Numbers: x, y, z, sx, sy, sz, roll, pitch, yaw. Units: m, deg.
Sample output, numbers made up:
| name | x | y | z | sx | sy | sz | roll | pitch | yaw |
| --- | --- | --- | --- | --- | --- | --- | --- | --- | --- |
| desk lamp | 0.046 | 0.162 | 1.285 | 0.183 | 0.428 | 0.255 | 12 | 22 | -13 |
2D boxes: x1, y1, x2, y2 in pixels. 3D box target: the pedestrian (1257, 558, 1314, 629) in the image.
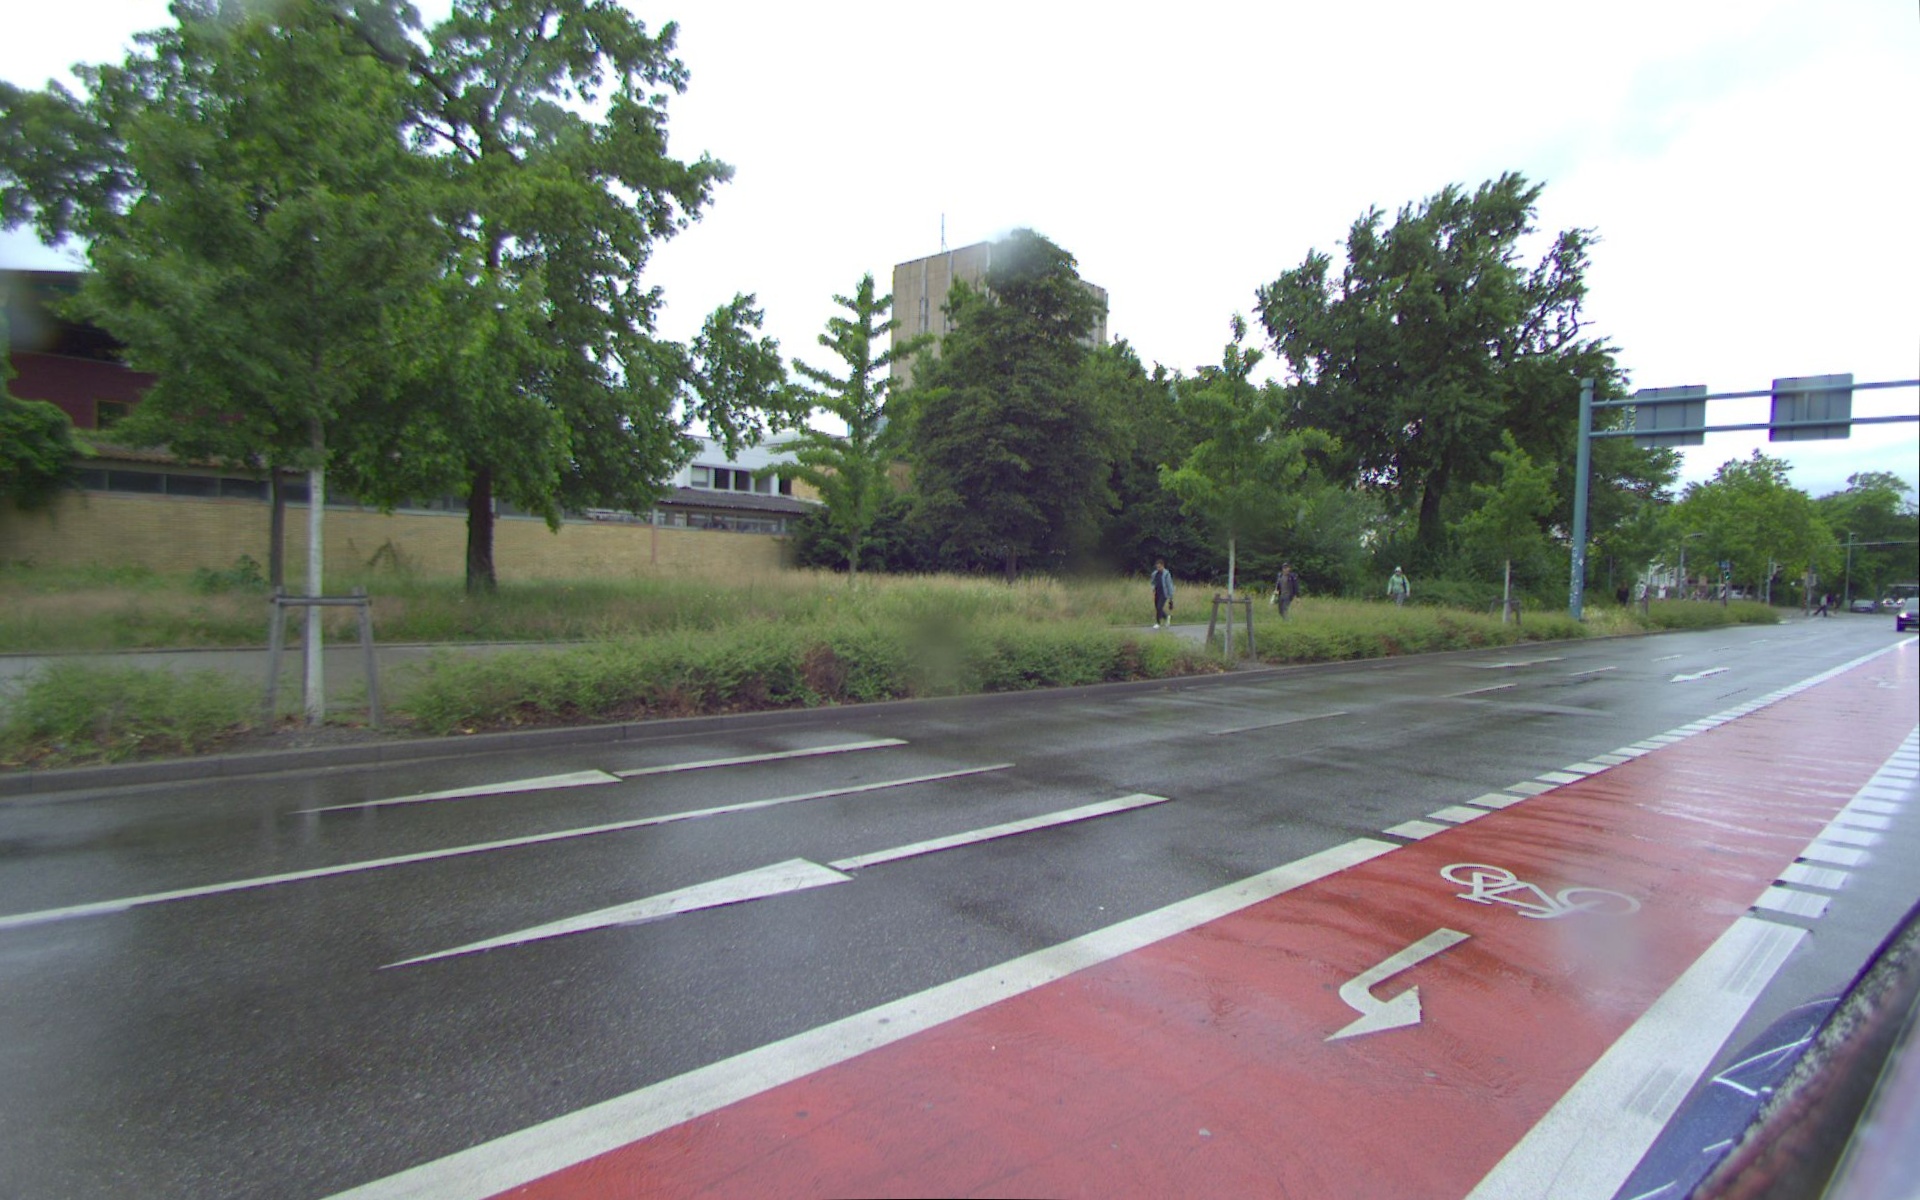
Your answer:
| name | x | y | z | sx | sy | sz | roll | pitch | yaw |
| --- | --- | --- | --- | --- | --- | --- | --- | --- | --- |
| pedestrian | 8.444 | -0.177 | 26.259 | 1.026 | 1.769 | 0.936 | 1 | 2 | -38 |

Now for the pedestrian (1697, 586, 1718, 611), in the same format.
| name | x | y | z | sx | sy | sz | roll | pitch | yaw |
| --- | --- | --- | --- | --- | --- | --- | --- | --- | --- |
| pedestrian | 50.247 | -0.128 | 68.015 | 0.868 | 1.627 | 0.857 | 3 | 2 | 24 |

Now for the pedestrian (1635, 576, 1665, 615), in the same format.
| name | x | y | z | sx | sy | sz | roll | pitch | yaw |
| --- | --- | --- | --- | --- | --- | --- | --- | --- | --- |
| pedestrian | 32.191 | -0.215 | 47.216 | 0.814 | 1.743 | 0.935 | 4 | -2 | -39 |

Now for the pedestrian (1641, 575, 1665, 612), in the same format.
| name | x | y | z | sx | sy | sz | roll | pitch | yaw |
| --- | --- | --- | --- | --- | --- | --- | --- | --- | --- |
| pedestrian | 36.233 | -0.327 | 52.927 | 0.835 | 1.882 | 0.732 | 1 | 2 | -38 |

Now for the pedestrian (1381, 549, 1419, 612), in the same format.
| name | x | y | z | sx | sy | sz | roll | pitch | yaw |
| --- | --- | --- | --- | --- | --- | --- | --- | --- | --- |
| pedestrian | 14.604 | -0.654 | 33.569 | 0.813 | 2.038 | 0.793 | 1 | 2 | -38 |

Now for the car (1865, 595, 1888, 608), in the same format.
| name | x | y | z | sx | sy | sz | roll | pitch | yaw |
| --- | --- | --- | --- | --- | --- | --- | --- | --- | --- |
| car | 96.333 | 0.143 | 106.331 | 1.657 | 1.282 | 4.042 | 4 | 3 | 44 |

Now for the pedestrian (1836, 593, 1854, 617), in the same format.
| name | x | y | z | sx | sy | sz | roll | pitch | yaw |
| --- | --- | --- | --- | --- | --- | --- | --- | --- | --- |
| pedestrian | 70.040 | 0.370 | 80.093 | 0.614 | 1.847 | 0.785 | 2 | 1 | 8 |

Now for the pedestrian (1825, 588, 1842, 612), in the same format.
| name | x | y | z | sx | sy | sz | roll | pitch | yaw |
| --- | --- | --- | --- | --- | --- | --- | --- | --- | --- |
| pedestrian | 68.907 | -0.035 | 79.852 | 0.614 | 1.847 | 0.786 | 2 | 1 | 5 |

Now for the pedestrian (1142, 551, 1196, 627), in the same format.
| name | x | y | z | sx | sy | sz | roll | pitch | yaw |
| --- | --- | --- | --- | --- | --- | --- | --- | --- | --- |
| pedestrian | 5.140 | -0.277 | 24.921 | 0.813 | 1.819 | 0.936 | 1 | 2 | -37 |

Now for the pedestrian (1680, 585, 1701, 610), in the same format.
| name | x | y | z | sx | sy | sz | roll | pitch | yaw |
| --- | --- | --- | --- | --- | --- | --- | --- | --- | --- |
| pedestrian | 49.412 | -0.153 | 68.455 | 0.867 | 1.627 | 0.857 | 3 | 2 | 23 |

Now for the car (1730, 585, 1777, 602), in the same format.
| name | x | y | z | sx | sy | sz | roll | pitch | yaw |
| --- | --- | --- | --- | --- | --- | --- | --- | --- | --- |
| car | 97.500 | -0.826 | 124.413 | 4.405 | 1.895 | 1.615 | 4 | 2 | 39 |

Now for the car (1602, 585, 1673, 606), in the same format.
| name | x | y | z | sx | sy | sz | roll | pitch | yaw |
| --- | --- | --- | --- | --- | --- | --- | --- | --- | --- |
| car | 53.254 | -0.370 | 79.596 | 4.375 | 1.353 | 1.747 | 4 | 5 | 43 |

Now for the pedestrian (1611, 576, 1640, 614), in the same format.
| name | x | y | z | sx | sy | sz | roll | pitch | yaw |
| --- | --- | --- | --- | --- | --- | --- | --- | --- | --- |
| pedestrian | 31.677 | -0.245 | 48.160 | 0.814 | 1.725 | 0.935 | 4 | -1 | -39 |

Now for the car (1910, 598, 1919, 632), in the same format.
| name | x | y | z | sx | sy | sz | roll | pitch | yaw |
| --- | --- | --- | --- | --- | --- | --- | --- | --- | --- |
| car | 41.711 | 0.654 | 43.171 | 1.657 | 1.381 | 4.042 | 4 | 3 | 44 |
